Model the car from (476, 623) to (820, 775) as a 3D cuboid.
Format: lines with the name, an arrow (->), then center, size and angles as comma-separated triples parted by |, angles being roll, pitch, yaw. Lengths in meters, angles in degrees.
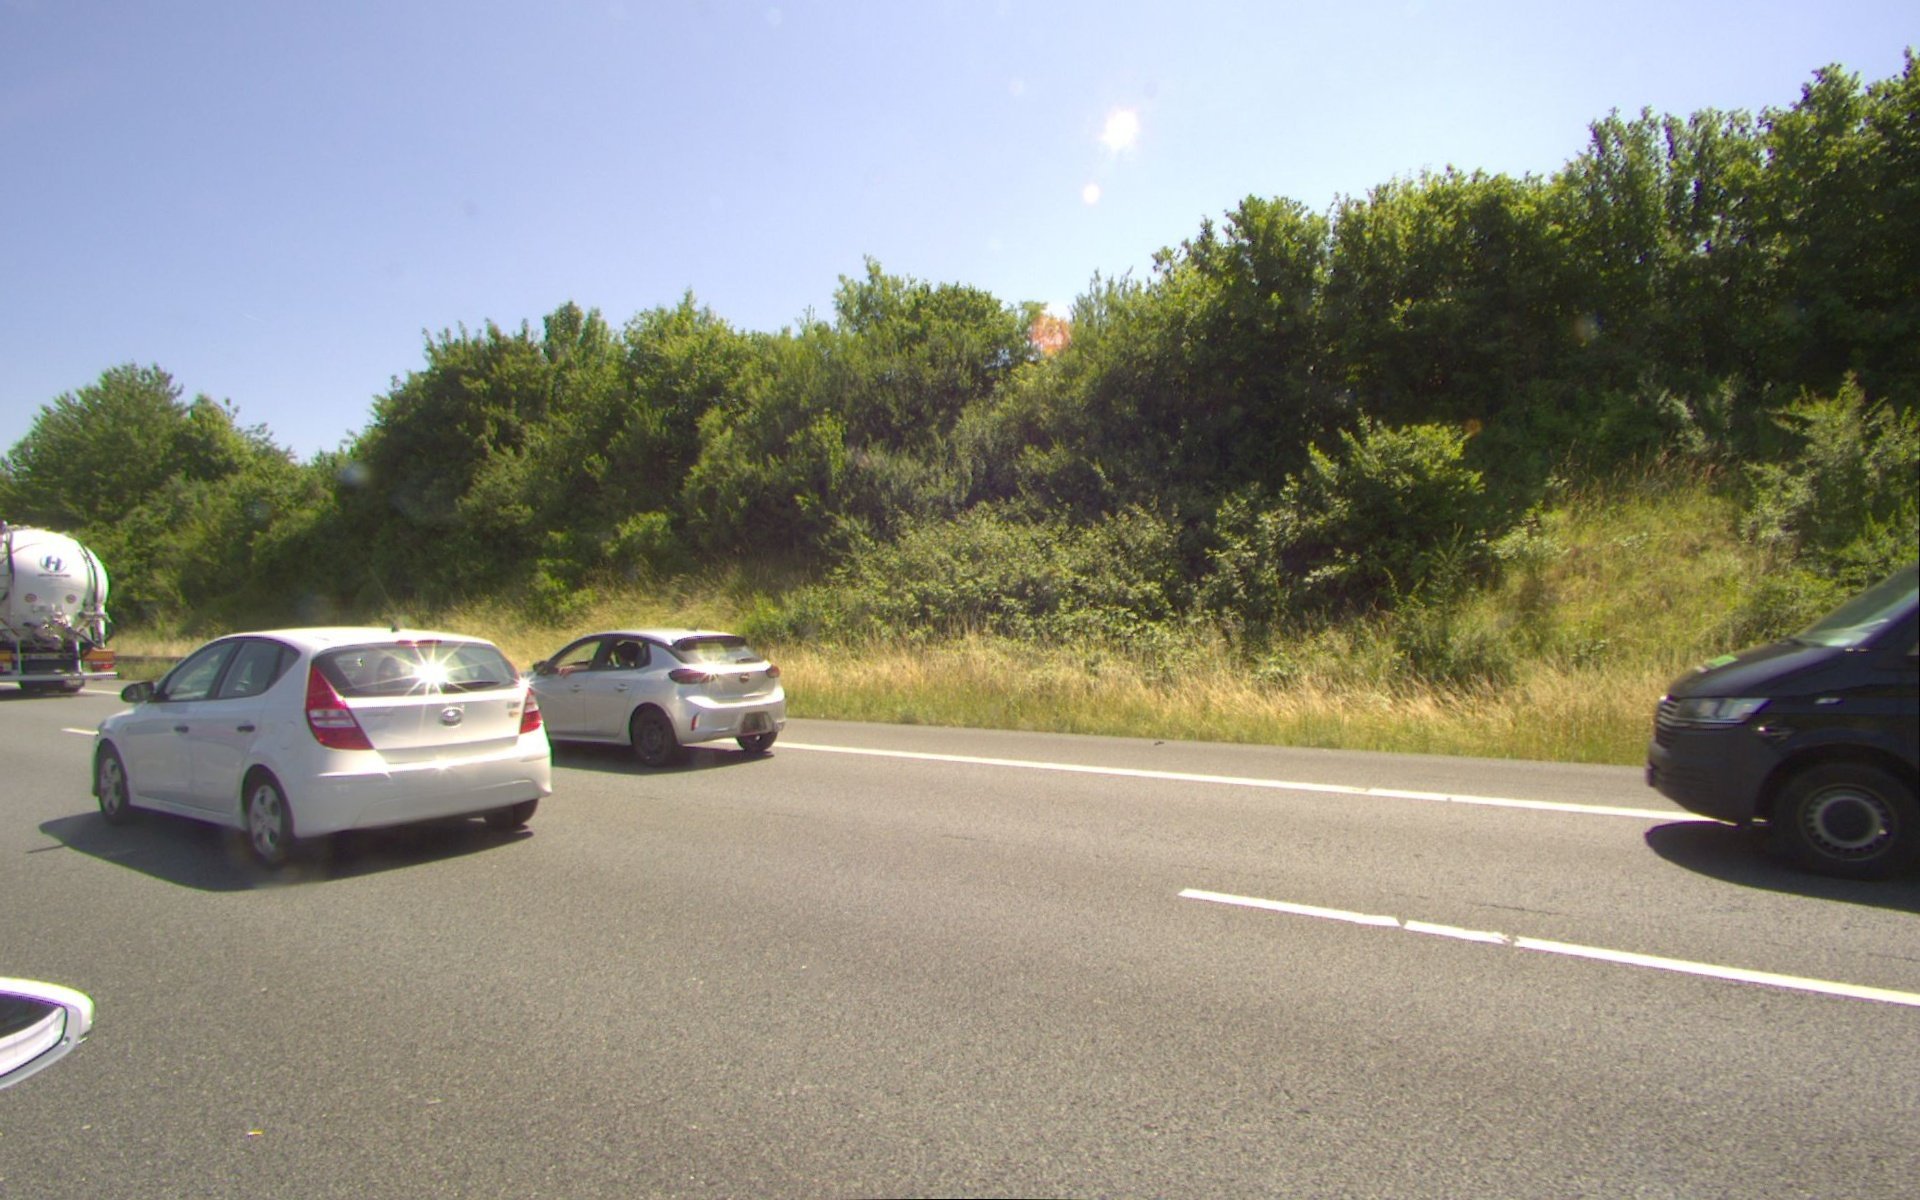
car -> -3.718, 1.027, 11.763 | 3.971, 1.462, 1.727 | 0, 0, 33

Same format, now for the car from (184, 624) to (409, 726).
car -> -10.842, 1.157, 16.291 | 3.934, 1.435, 1.637 | -2, 0, 34

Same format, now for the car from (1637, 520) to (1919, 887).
car -> 6.649, 0.527, 5.488 | 4.789, 1.965, 1.909 | -2, -1, 34

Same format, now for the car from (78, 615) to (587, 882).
car -> -4.816, 0.910, 7.538 | 3.946, 1.504, 1.812 | -2, -1, 34

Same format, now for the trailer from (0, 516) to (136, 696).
trailer -> -24.987, 0.225, 25.546 | 11.322, 3.895, 2.755 | -1, -1, 32
